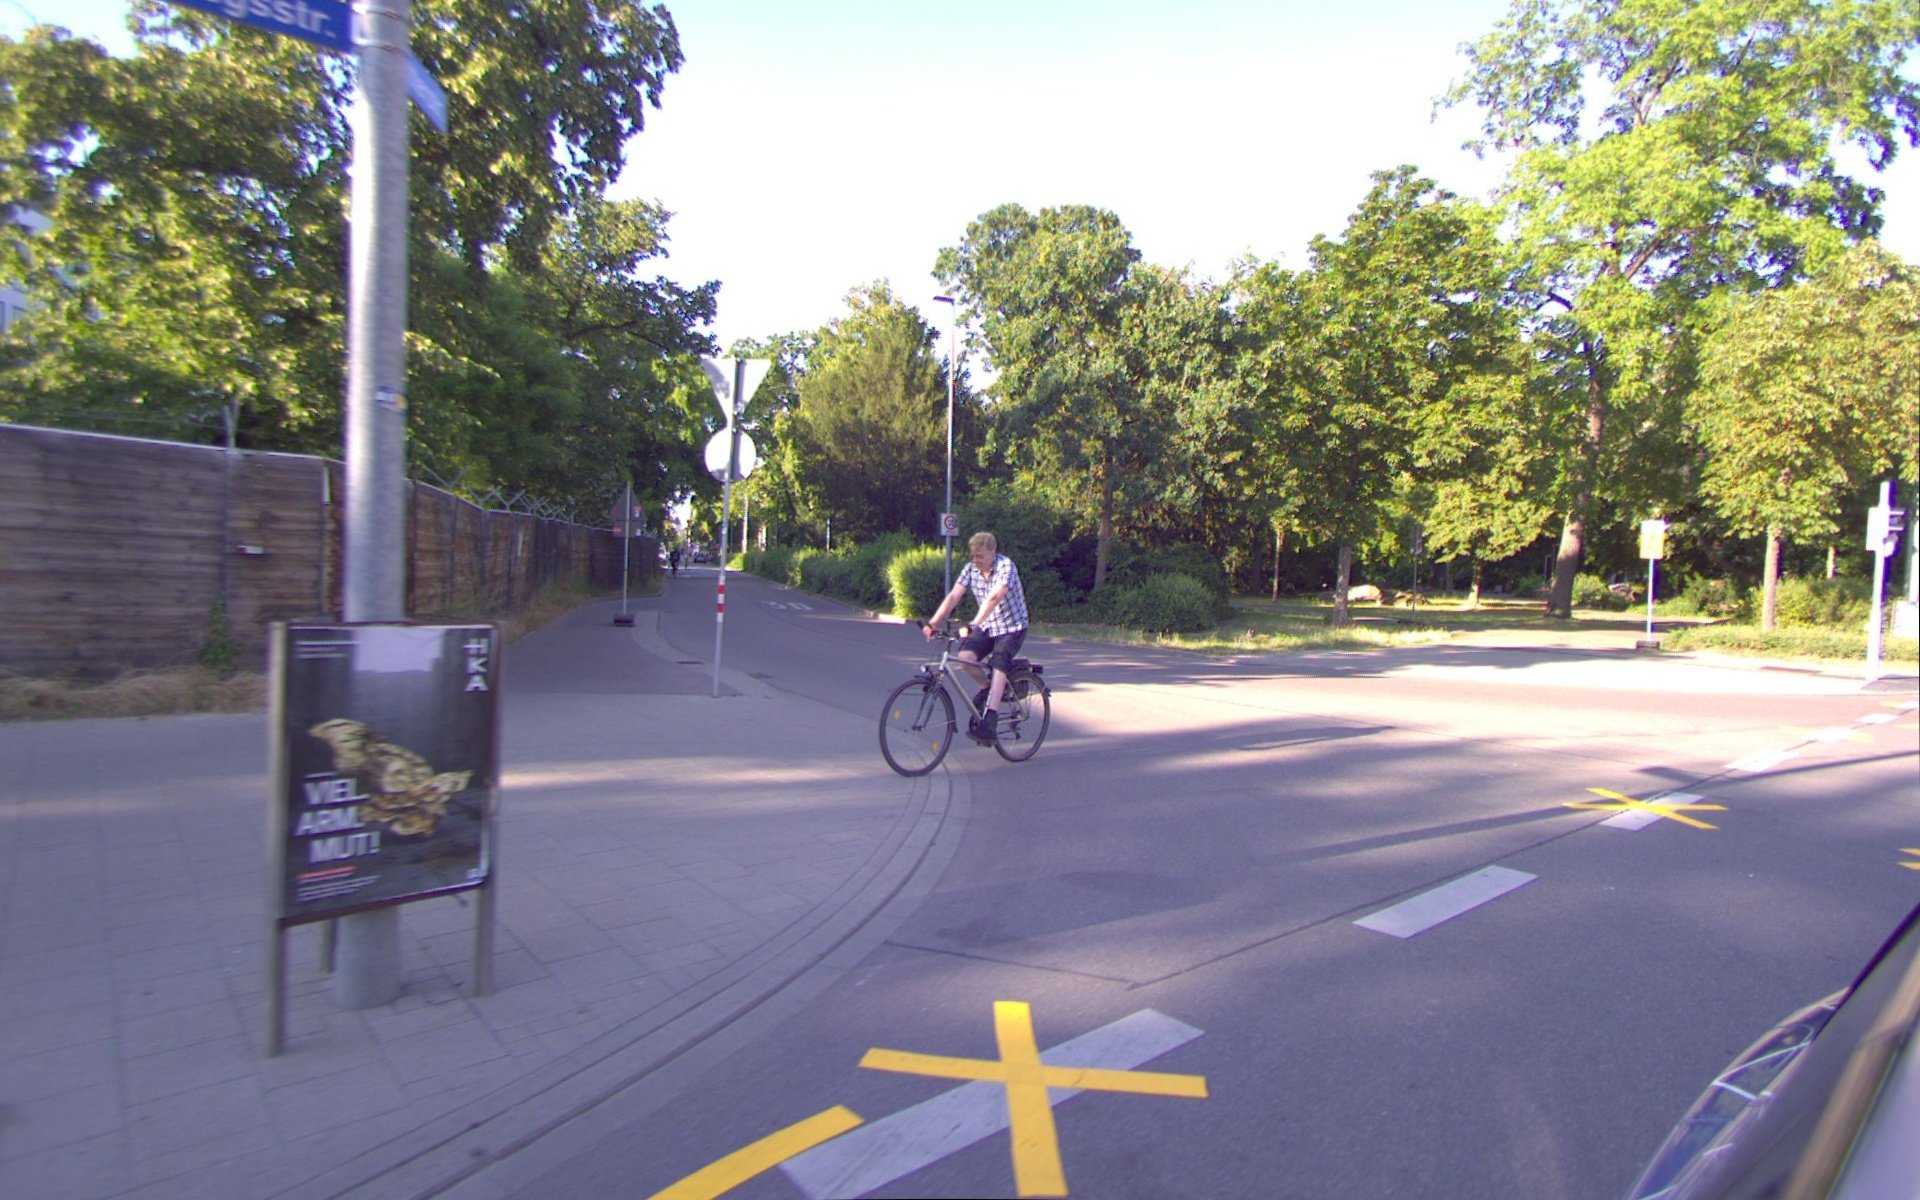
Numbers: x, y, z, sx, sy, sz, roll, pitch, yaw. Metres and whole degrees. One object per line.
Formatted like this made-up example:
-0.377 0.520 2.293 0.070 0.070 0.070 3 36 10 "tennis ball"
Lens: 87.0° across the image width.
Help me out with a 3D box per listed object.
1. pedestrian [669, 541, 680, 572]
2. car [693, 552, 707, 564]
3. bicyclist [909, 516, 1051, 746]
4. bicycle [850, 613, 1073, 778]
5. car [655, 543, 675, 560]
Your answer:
-18.856 -2.860 66.803 0.667 2.015 1.002 1 2 -17 "pedestrian"
-38.490 -6.261 149.605 1.811 1.760 4.010 1 2 -16 "car"
0.153 0.202 7.679 0.888 1.634 0.585 0 3 -43 "bicyclist"
0.061 0.664 7.709 1.878 1.074 0.428 -1 3 -42 "bicycle"
-31.822 -5.235 109.143 1.958 1.671 4.009 0 1 -18 "car"
